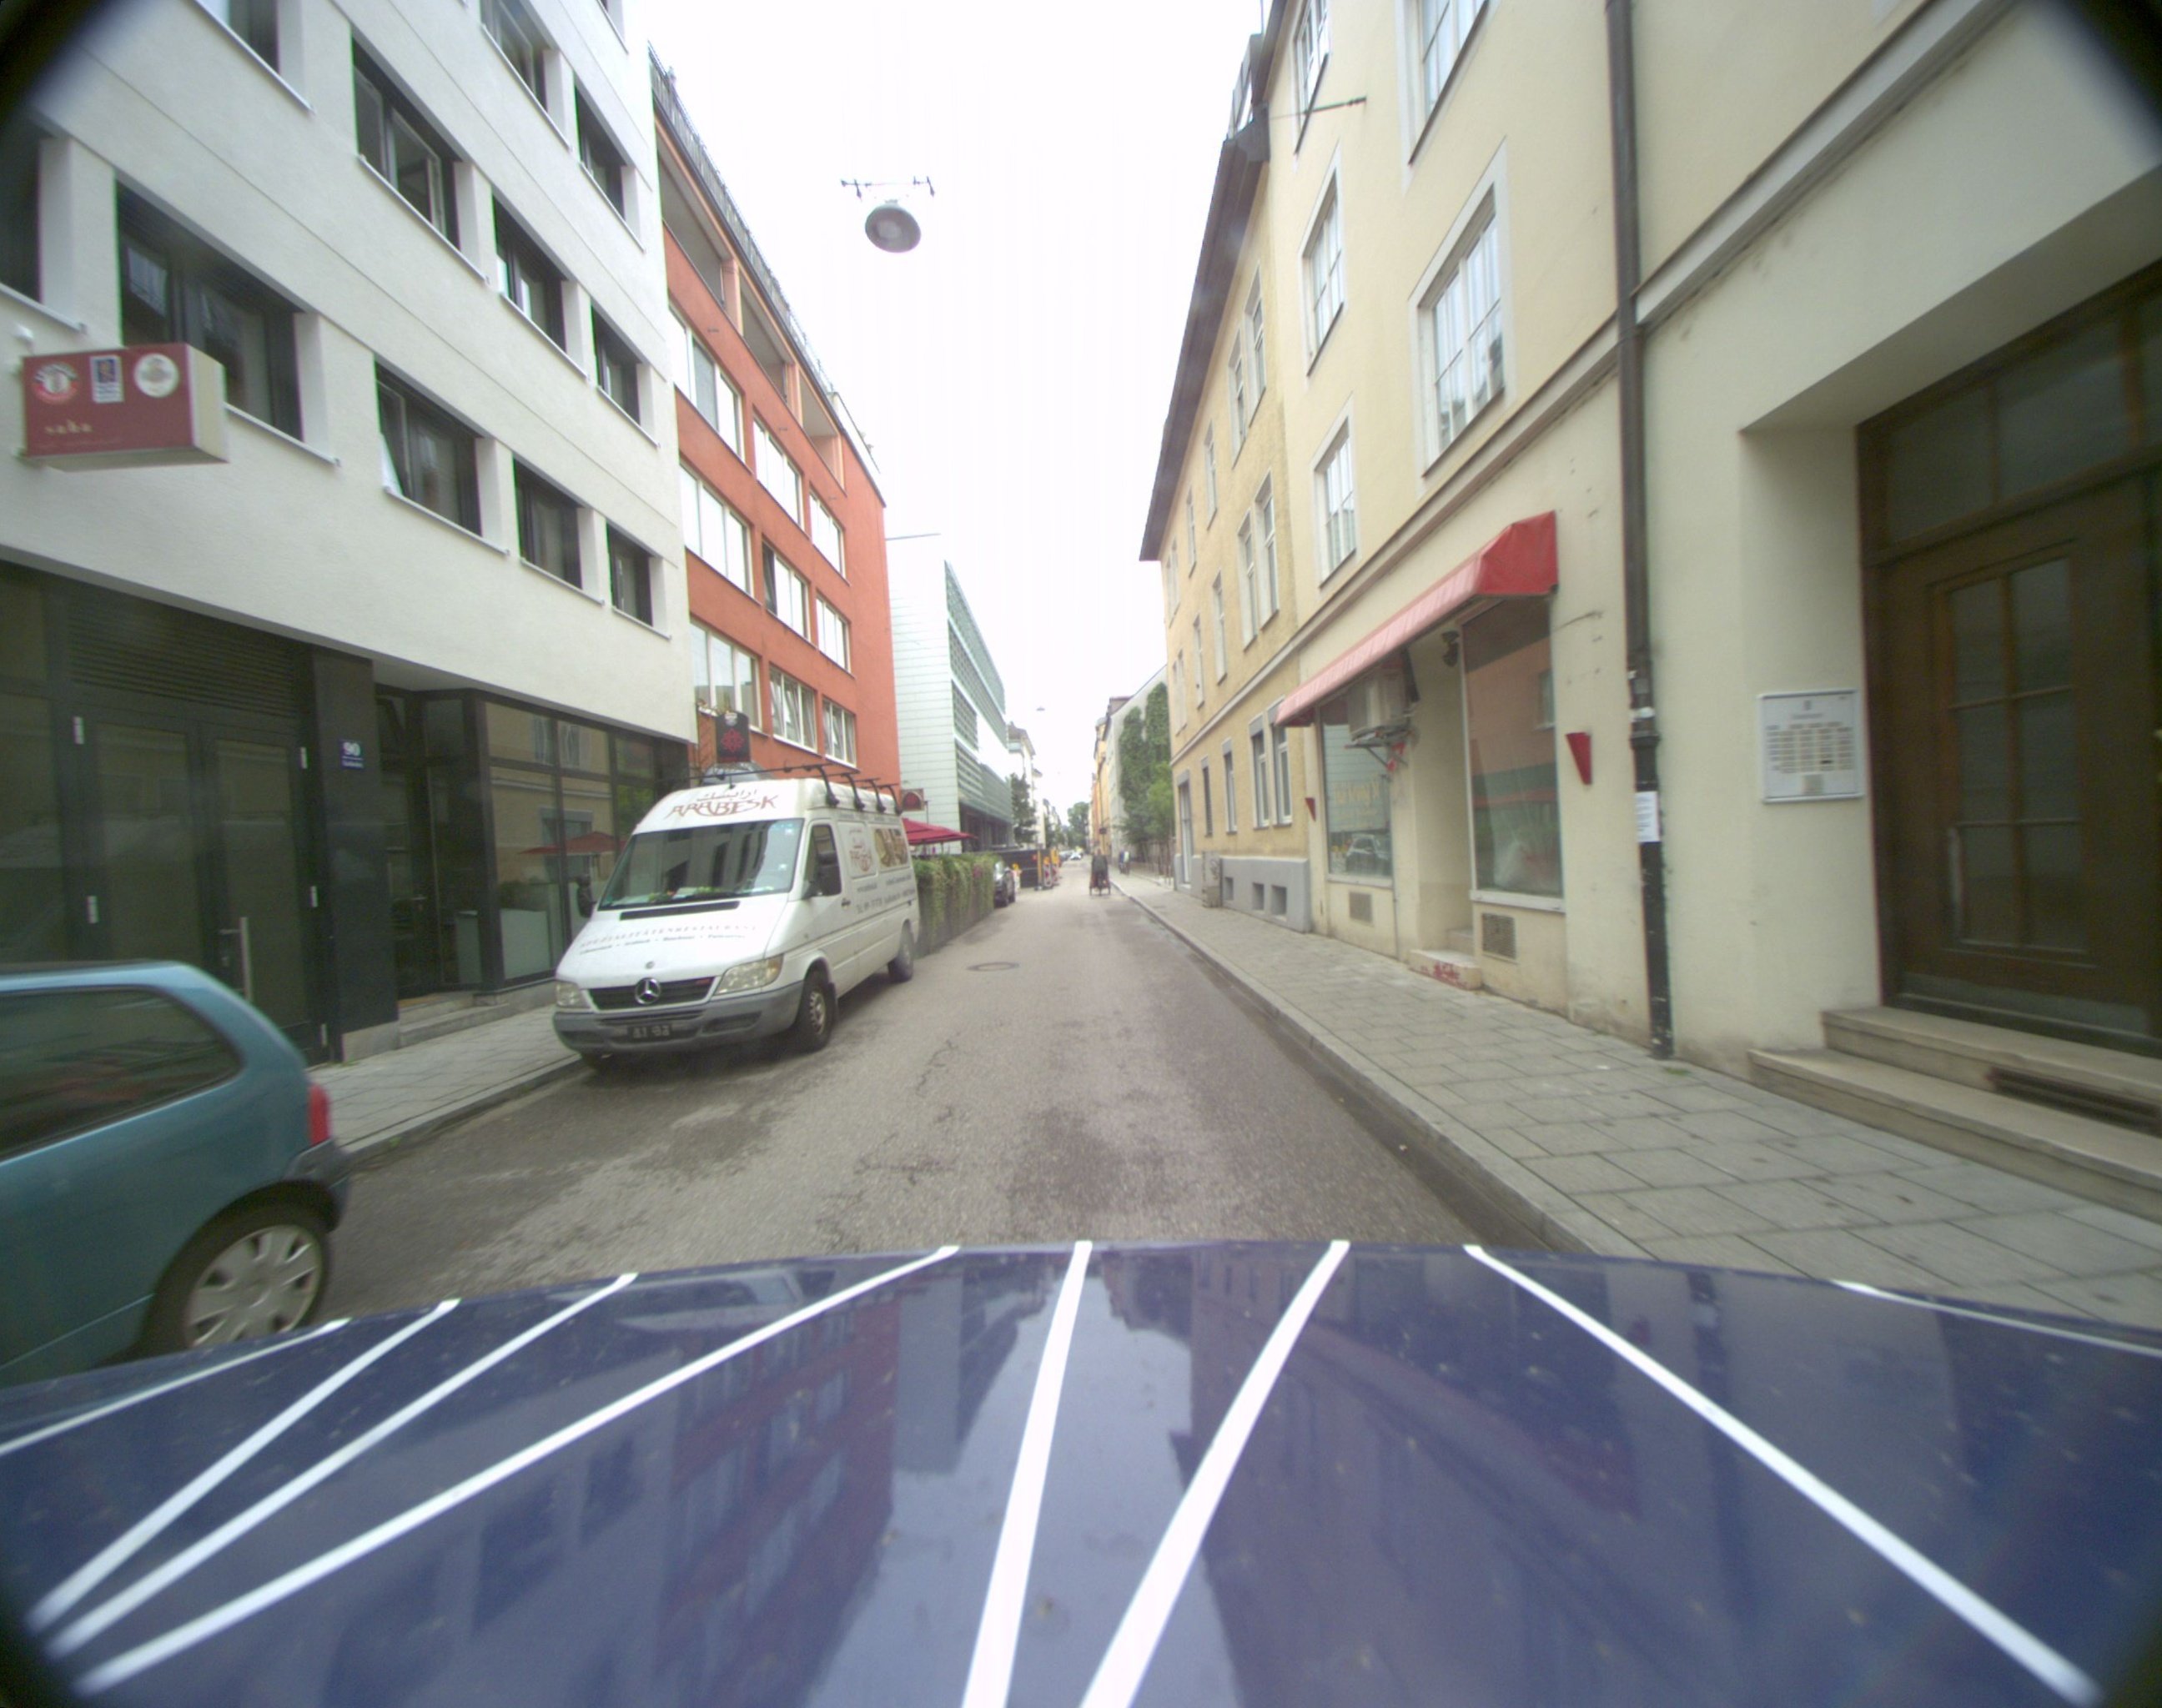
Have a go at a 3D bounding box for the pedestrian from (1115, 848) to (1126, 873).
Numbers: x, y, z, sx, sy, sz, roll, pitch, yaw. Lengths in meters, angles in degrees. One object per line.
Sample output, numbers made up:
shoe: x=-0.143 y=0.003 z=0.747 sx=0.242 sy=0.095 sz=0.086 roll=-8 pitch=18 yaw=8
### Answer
pedestrian: x=2.724 y=0.429 z=52.479 sx=0.553 sy=1.650 sz=0.997 roll=-4 pitch=1 yaw=0

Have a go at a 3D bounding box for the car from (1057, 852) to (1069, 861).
car: x=-2.696 y=0.317 z=113.773 sx=1.625 sy=1.259 sz=4.328 roll=-4 pitch=1 yaw=0

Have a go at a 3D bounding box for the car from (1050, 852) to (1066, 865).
car: x=-2.941 y=0.548 z=96.814 sx=1.809 sy=1.390 sz=3.999 roll=-4 pitch=1 yaw=0

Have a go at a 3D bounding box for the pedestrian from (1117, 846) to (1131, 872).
pedestrian: x=3.078 y=0.329 z=54.487 sx=0.777 sy=1.826 sz=0.991 roll=-4 pitch=1 yaw=0

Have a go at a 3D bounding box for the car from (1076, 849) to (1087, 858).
car: x=0.120 y=-0.124 z=147.070 sx=1.999 sy=1.583 sz=4.374 roll=-4 pitch=1 yaw=0

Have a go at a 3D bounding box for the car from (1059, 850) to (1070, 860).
car: x=-3.029 y=0.131 z=136.349 sx=1.793 sy=1.550 sz=3.999 roll=-4 pitch=1 yaw=0

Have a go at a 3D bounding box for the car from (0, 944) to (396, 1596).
car: x=-3.446 y=1.127 z=1.128 sx=1.584 sy=1.455 sz=3.551 roll=-3 pitch=0 yaw=-1

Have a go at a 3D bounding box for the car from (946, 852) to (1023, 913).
car: x=-3.142 y=0.874 z=25.613 sx=1.828 sy=1.700 sz=4.389 roll=-4 pitch=0 yaw=1

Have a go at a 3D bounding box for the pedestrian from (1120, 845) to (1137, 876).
pedestrian: x=2.912 y=0.402 z=46.817 sx=0.861 sy=1.834 sz=0.974 roll=-4 pitch=1 yaw=2

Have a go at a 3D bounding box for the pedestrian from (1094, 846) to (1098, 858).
pedestrian: x=2.406 y=-0.292 z=121.486 sx=0.493 sy=1.814 sz=0.552 roll=-3 pitch=1 yaw=0

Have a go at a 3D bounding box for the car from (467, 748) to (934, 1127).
car: x=-3.221 y=0.576 z=8.290 sx=1.925 sy=2.491 sz=5.996 roll=-5 pitch=0 yaw=-1

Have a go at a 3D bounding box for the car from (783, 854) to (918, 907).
car: x=-8.707 y=0.978 z=28.966 sx=4.473 sy=1.710 sz=1.840 roll=-3 pitch=1 yaw=0

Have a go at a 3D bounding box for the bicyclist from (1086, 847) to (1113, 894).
bicyclist: x=0.696 y=0.610 z=28.683 sx=0.929 sy=1.711 sz=1.099 roll=-2 pitch=1 yaw=0

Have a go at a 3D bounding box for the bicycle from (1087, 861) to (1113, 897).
bicycle: x=0.709 y=0.923 z=29.239 sx=0.934 sy=1.250 sz=2.413 roll=-2 pitch=1 yaw=0
